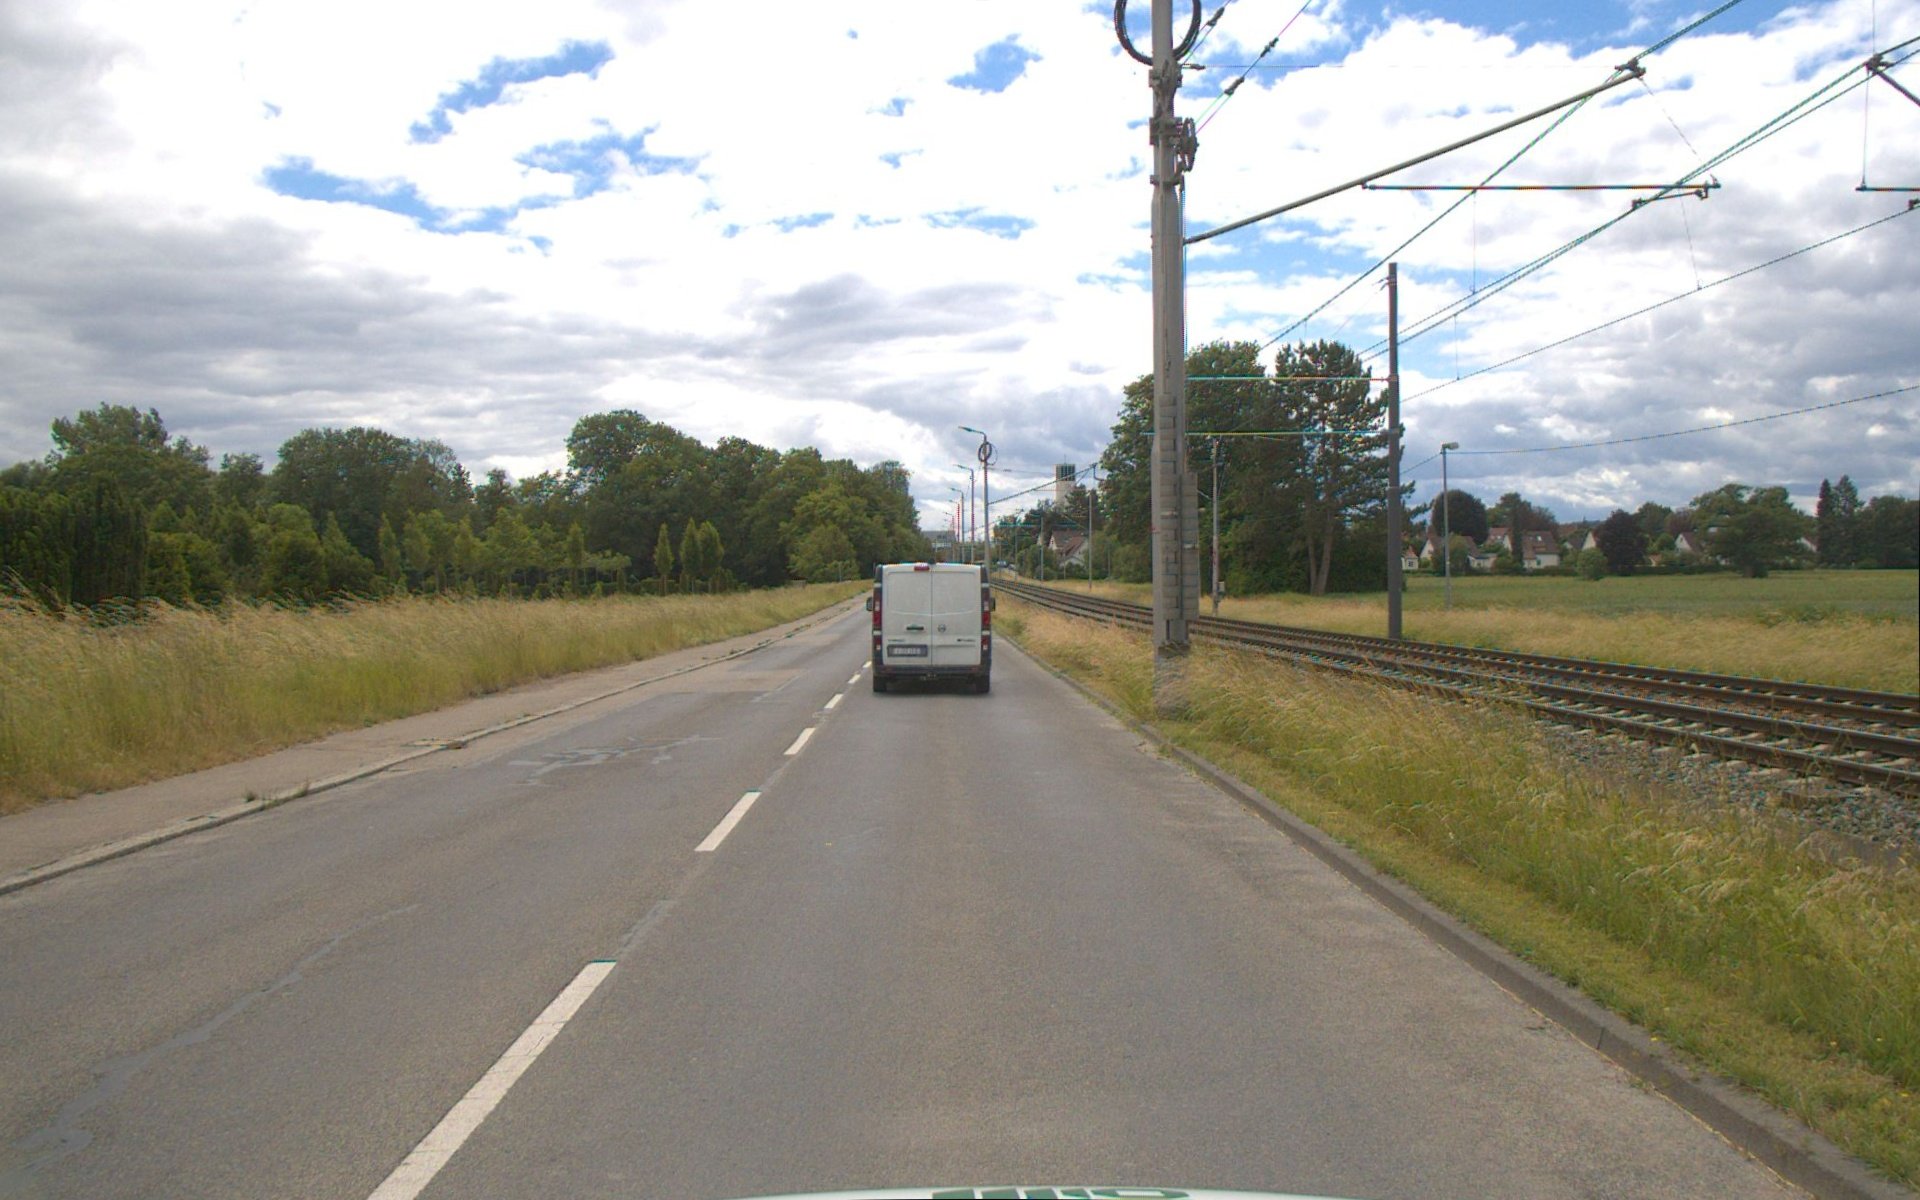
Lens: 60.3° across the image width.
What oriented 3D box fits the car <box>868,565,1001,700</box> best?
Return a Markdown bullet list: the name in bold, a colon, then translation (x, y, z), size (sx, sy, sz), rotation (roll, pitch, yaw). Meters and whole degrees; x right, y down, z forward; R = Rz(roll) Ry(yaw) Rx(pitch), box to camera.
- **car**: translation (-0.442, 0.471, 26.435), size (1.953, 1.991, 3.998), rotation (0, 0, -2)
